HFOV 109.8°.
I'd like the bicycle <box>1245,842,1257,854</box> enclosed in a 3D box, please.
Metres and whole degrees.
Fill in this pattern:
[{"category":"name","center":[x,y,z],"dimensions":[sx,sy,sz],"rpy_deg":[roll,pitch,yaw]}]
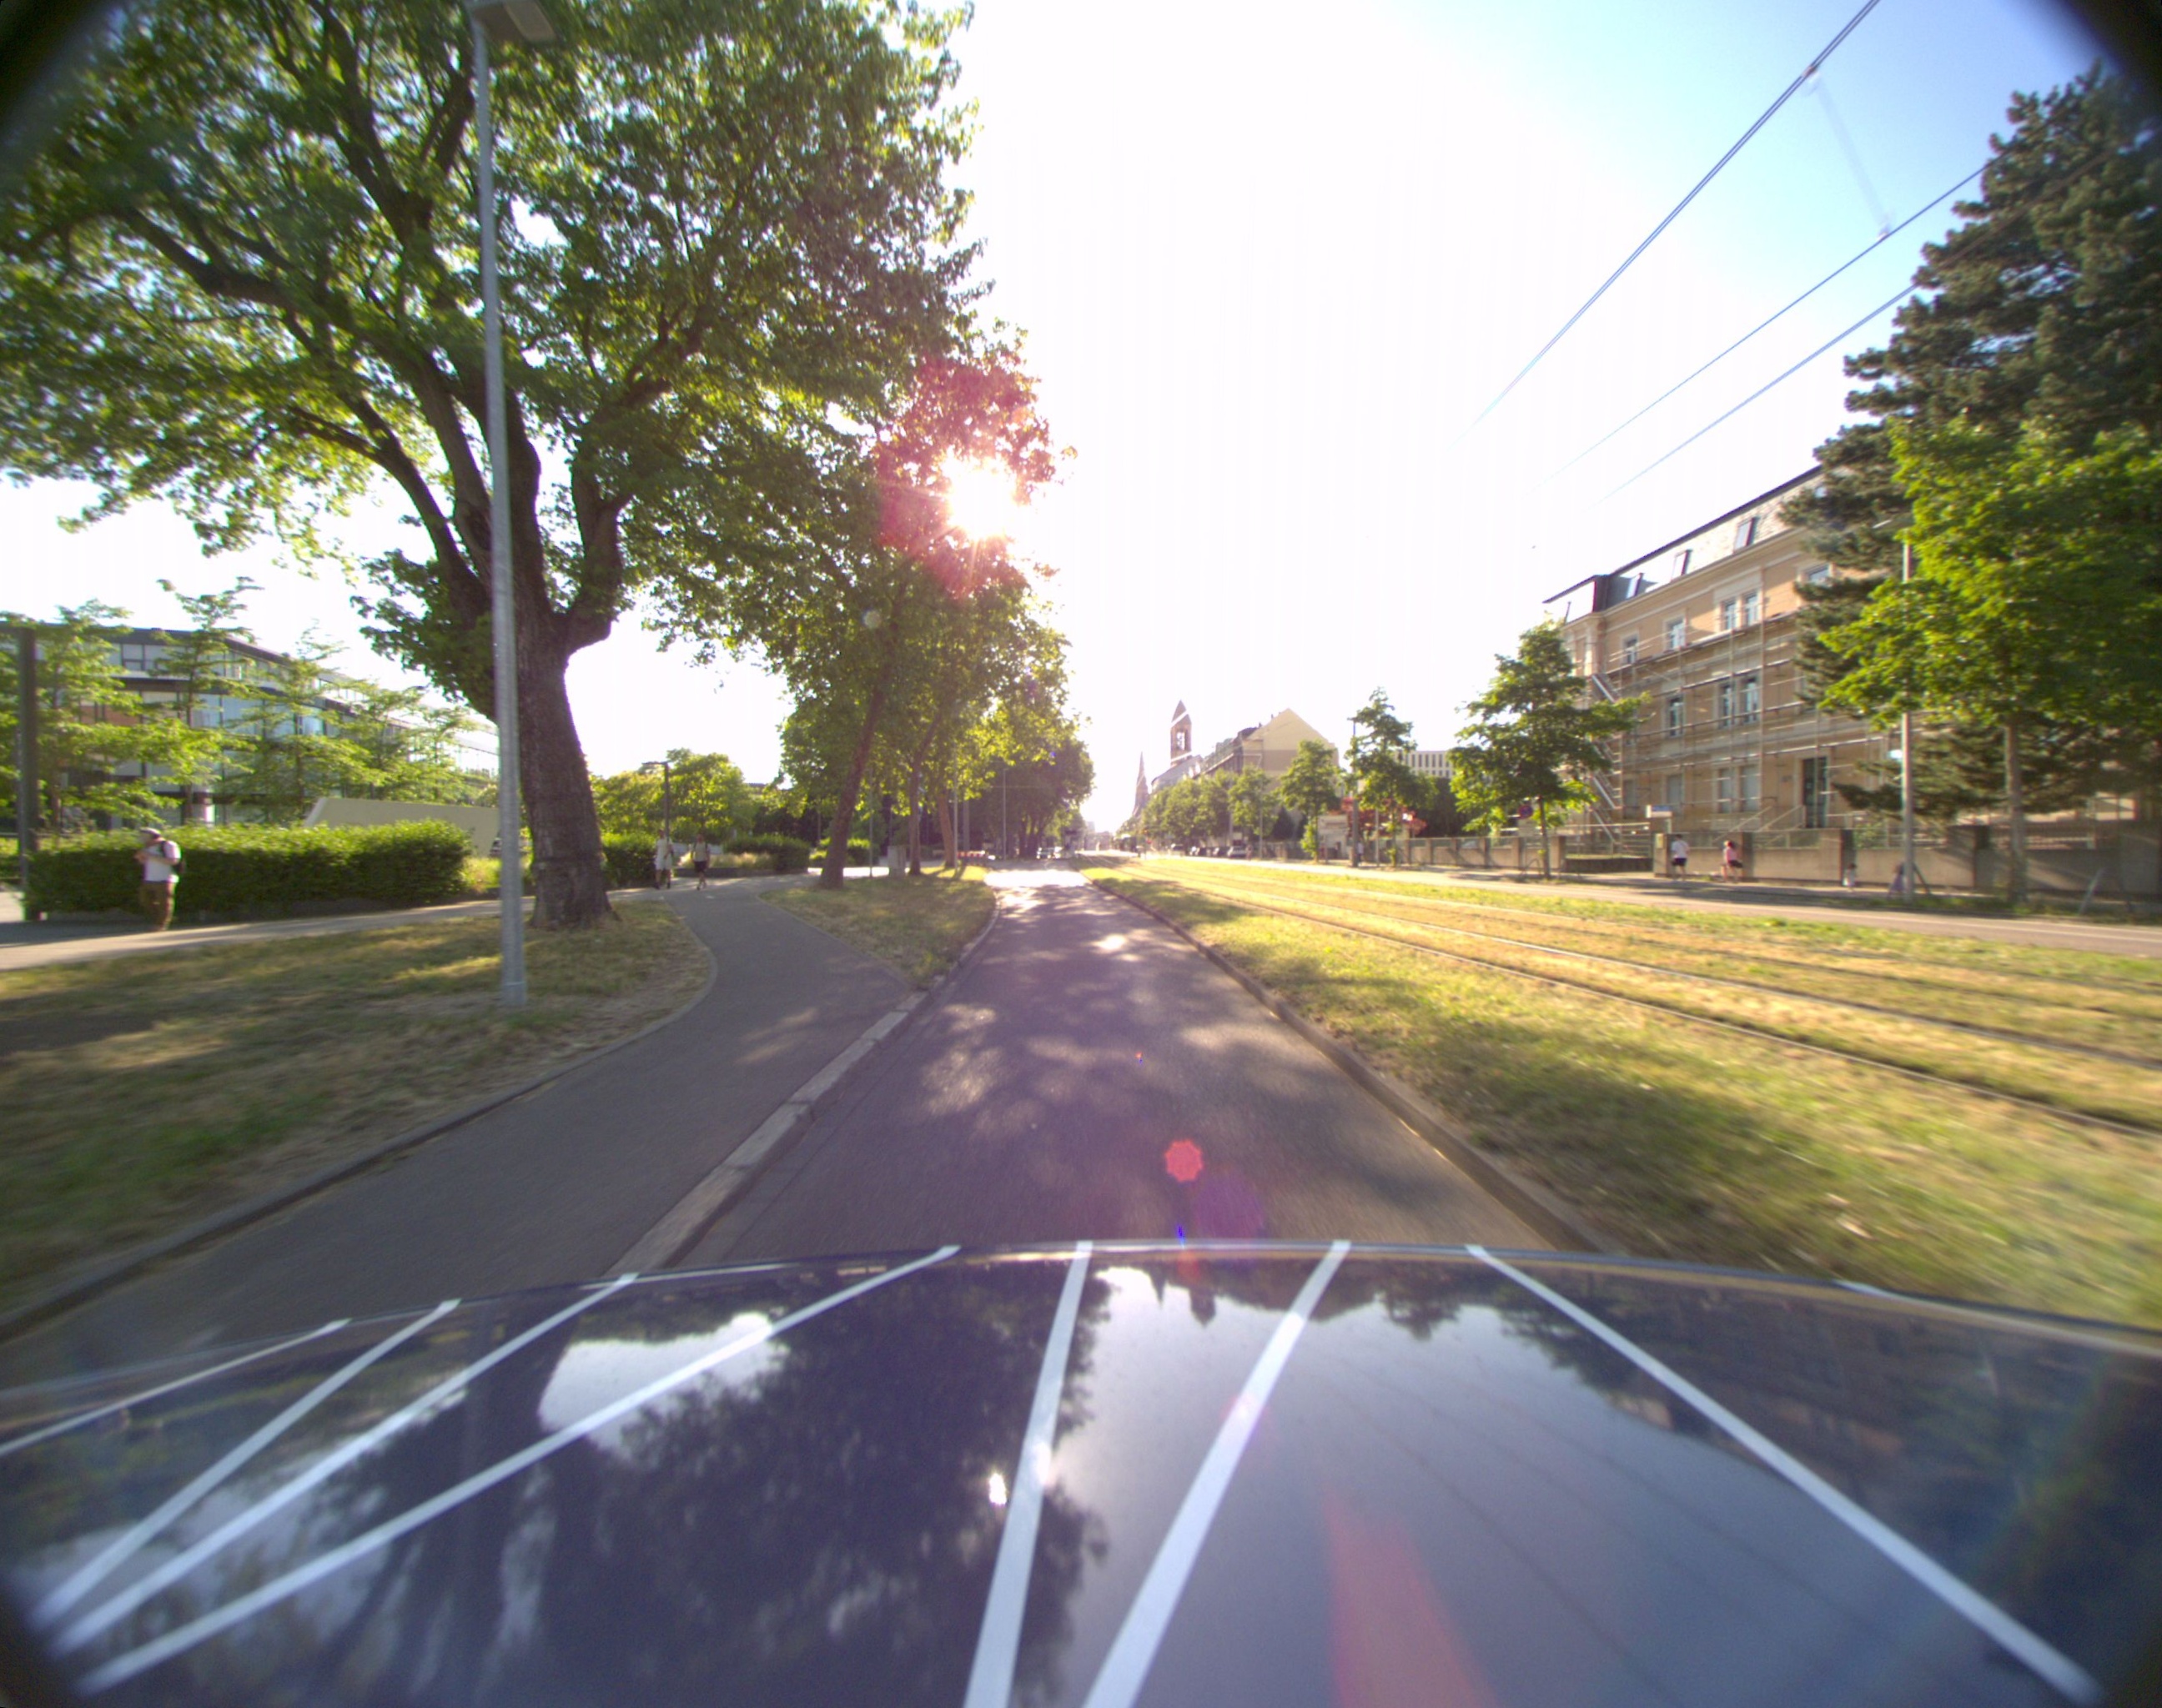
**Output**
[{"category":"bicycle","center":[17.429,-0.616,77.977],"dimensions":[0.776,1.187,1.755],"rpy_deg":[-2,1,0]}]

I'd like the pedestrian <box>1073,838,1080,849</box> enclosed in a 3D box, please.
[{"category":"pedestrian","center":[-0.728,-1.723,120.967],"dimensions":[0.912,1.712,0.630],"rpy_deg":[-3,2,-33]}]

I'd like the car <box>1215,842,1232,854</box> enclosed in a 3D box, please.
[{"category":"car","center":[19.647,-0.875,104.809],"dimensions":[1.725,1.577,4.065],"rpy_deg":[-2,1,4]}]

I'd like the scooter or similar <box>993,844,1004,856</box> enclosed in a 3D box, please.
[{"category":"scooter or similar","center":[-8.499,-0.417,78.352],"dimensions":[1.054,1.237,0.841],"rpy_deg":[1,2,2]}]

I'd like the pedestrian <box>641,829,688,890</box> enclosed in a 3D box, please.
[{"category":"pedestrian","center":[-12.595,0.163,23.013],"dimensions":[0.807,1.783,1.109],"rpy_deg":[1,2,0]}]

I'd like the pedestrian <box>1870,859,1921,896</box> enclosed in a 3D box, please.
[{"category":"pedestrian","center":[21.029,0.604,19.629],"dimensions":[0.651,0.927,0.585],"rpy_deg":[1,1,5]}]

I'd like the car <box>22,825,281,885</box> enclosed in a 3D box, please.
[{"category":"car","center":[-28.041,0.056,23.157],"dimensions":[4.691,1.703,1.845],"rpy_deg":[1,0,-20]}]

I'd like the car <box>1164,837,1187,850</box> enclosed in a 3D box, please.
[{"category":"car","center":[13.776,-1.560,110.936],"dimensions":[1.946,1.908,4.467],"rpy_deg":[0,1,-12]}]

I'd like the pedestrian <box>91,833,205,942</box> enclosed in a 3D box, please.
[{"category":"pedestrian","center":[-13.533,0.461,11.044],"dimensions":[0.651,1.531,0.783],"rpy_deg":[1,2,0]}]

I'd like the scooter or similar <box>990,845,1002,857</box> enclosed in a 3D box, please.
[{"category":"scooter or similar","center":[-8.648,-0.332,77.462],"dimensions":[1.054,1.237,0.841],"rpy_deg":[1,2,2]}]

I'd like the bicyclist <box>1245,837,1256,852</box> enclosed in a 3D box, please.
[{"category":"bicyclist","center":[17.417,-0.993,78.045],"dimensions":[0.776,1.473,1.133],"rpy_deg":[-2,1,0]}]

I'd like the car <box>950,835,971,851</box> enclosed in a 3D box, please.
[{"category":"car","center":[-19.124,-1.757,121.044],"dimensions":[1.998,2.485,6.346],"rpy_deg":[-2,1,2]}]

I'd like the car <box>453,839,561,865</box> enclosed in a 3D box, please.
[{"category":"car","center":[-34.063,-0.110,45.253],"dimensions":[4.690,1.476,2.069],"rpy_deg":[0,0,-19]}]

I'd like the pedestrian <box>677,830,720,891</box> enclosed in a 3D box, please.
[{"category":"pedestrian","center":[-11.556,0.174,23.000],"dimensions":[0.752,1.783,1.086],"rpy_deg":[1,2,0]}]

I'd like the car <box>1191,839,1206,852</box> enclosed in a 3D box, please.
[{"category":"car","center":[19.455,-1.417,126.069],"dimensions":[1.998,2.002,3.999],"rpy_deg":[-2,1,2]}]

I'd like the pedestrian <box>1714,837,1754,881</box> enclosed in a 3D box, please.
[{"category":"pedestrian","center":[22.948,0.156,26.717],"dimensions":[0.651,1.531,0.783],"rpy_deg":[1,2,-1]}]

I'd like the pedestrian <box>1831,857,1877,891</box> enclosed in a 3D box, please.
[{"category":"pedestrian","center":[21.586,0.552,21.239],"dimensions":[0.651,0.927,0.585],"rpy_deg":[1,1,5]}]

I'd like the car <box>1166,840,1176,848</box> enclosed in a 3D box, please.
[{"category":"car","center":[19.317,-2.168,163.139],"dimensions":[1.811,1.626,3.784],"rpy_deg":[-2,1,0]}]

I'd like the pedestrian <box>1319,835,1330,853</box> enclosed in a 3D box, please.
[{"category":"pedestrian","center":[22.595,-0.927,70.525],"dimensions":[0.726,1.638,0.812],"rpy_deg":[1,2,-6]}]

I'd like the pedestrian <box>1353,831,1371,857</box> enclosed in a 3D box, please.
[{"category":"pedestrian","center":[20.911,-0.738,56.534],"dimensions":[0.860,1.917,1.086],"rpy_deg":[1,2,-1]}]

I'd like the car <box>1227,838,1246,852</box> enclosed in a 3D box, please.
[{"category":"car","center":[19.340,-1.167,94.494],"dimensions":[1.725,1.577,4.065],"rpy_deg":[-2,1,4]}]

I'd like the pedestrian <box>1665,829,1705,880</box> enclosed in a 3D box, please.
[{"category":"pedestrian","center":[21.715,0.009,27.329],"dimensions":[0.651,1.765,0.888],"rpy_deg":[1,2,-1]}]

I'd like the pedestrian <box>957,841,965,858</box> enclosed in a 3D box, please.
[{"category":"pedestrian","center":[-11.829,-0.482,75.025],"dimensions":[0.629,1.647,0.739],"rpy_deg":[1,2,0]}]

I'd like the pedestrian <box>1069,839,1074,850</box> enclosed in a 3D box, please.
[{"category":"pedestrian","center":[-1.427,-1.458,114.858],"dimensions":[0.681,1.680,0.894],"rpy_deg":[-2,2,0]}]

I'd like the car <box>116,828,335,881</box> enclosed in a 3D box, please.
[{"category":"car","center":[-29.361,0.051,26.290],"dimensions":[4.691,1.703,1.845],"rpy_deg":[1,0,-20]}]

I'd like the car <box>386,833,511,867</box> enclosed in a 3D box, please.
[{"category":"car","center":[-33.601,-0.207,40.534],"dimensions":[4.691,1.703,2.069],"rpy_deg":[1,0,-19]}]
